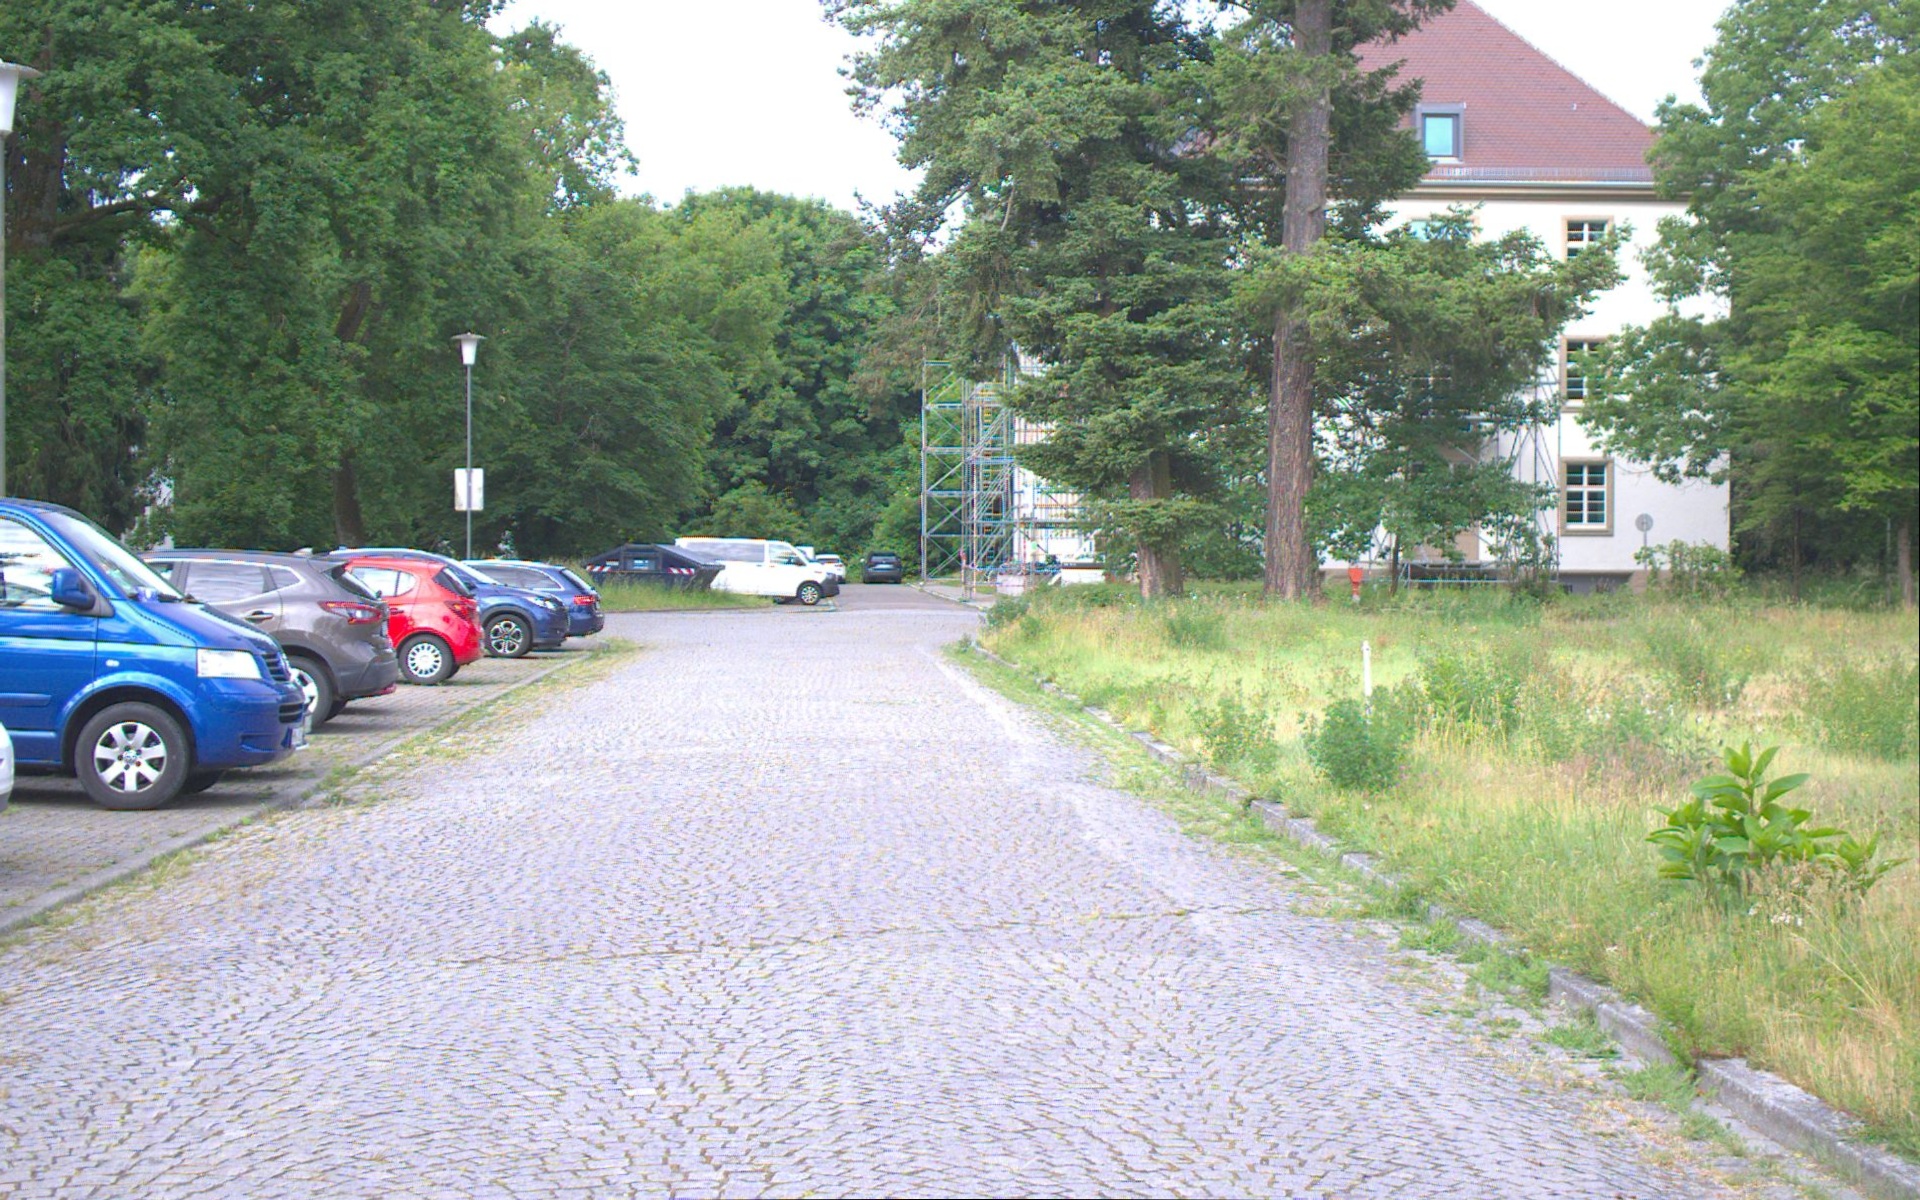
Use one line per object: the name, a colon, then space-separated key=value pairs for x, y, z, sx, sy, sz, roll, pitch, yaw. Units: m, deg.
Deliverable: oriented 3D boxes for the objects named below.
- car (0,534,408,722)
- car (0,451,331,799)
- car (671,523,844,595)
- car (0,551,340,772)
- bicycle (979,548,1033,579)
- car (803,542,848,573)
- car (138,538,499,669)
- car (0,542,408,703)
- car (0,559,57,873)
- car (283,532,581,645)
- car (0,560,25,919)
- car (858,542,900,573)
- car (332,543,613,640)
car: x=-7.118 y=0.224 z=30.787 sx=4.165 sy=1.616 sz=1.987 roll=0 pitch=1 yaw=-5
car: x=-6.555 y=0.132 z=21.916 sx=4.781 sy=2.115 sz=2.115 roll=0 pitch=1 yaw=-3
car: x=-6.205 y=-1.257 z=105.027 sx=5.234 sy=2.160 sz=2.000 roll=0 pitch=1 yaw=-4
car: x=-6.616 y=0.409 z=24.510 sx=4.165 sy=1.505 sz=1.782 roll=0 pitch=1 yaw=-4
bicycle: x=1.927 y=-1.530 z=144.118 sx=2.240 sy=1.250 sz=0.634 roll=0 pitch=1 yaw=0
car: x=-6.716 y=-2.101 z=171.051 sx=2.118 sy=1.516 sz=4.001 roll=0 pitch=1 yaw=-4
car: x=-7.623 y=0.030 z=41.147 sx=4.054 sy=1.520 sz=1.905 roll=0 pitch=1 yaw=-4
car: x=-7.574 y=0.199 z=33.513 sx=4.165 sy=1.505 sz=1.908 roll=0 pitch=1 yaw=-3
car: x=-6.631 y=0.552 z=16.622 sx=4.067 sy=1.492 sz=1.846 roll=0 pitch=1 yaw=-1
car: x=-7.845 y=-0.188 z=51.390 sx=4.227 sy=1.571 sz=1.887 roll=1 pitch=1 yaw=-4
car: x=-6.056 y=0.587 z=13.699 sx=4.166 sy=1.486 sz=1.865 roll=0 pitch=1 yaw=-1
car: x=-4.052 y=-2.112 z=171.442 sx=1.951 sy=1.516 sz=4.001 roll=0 pitch=1 yaw=-4
car: x=-7.924 y=-0.146 z=56.117 sx=4.302 sy=1.456 sz=1.975 roll=1 pitch=1 yaw=-1
